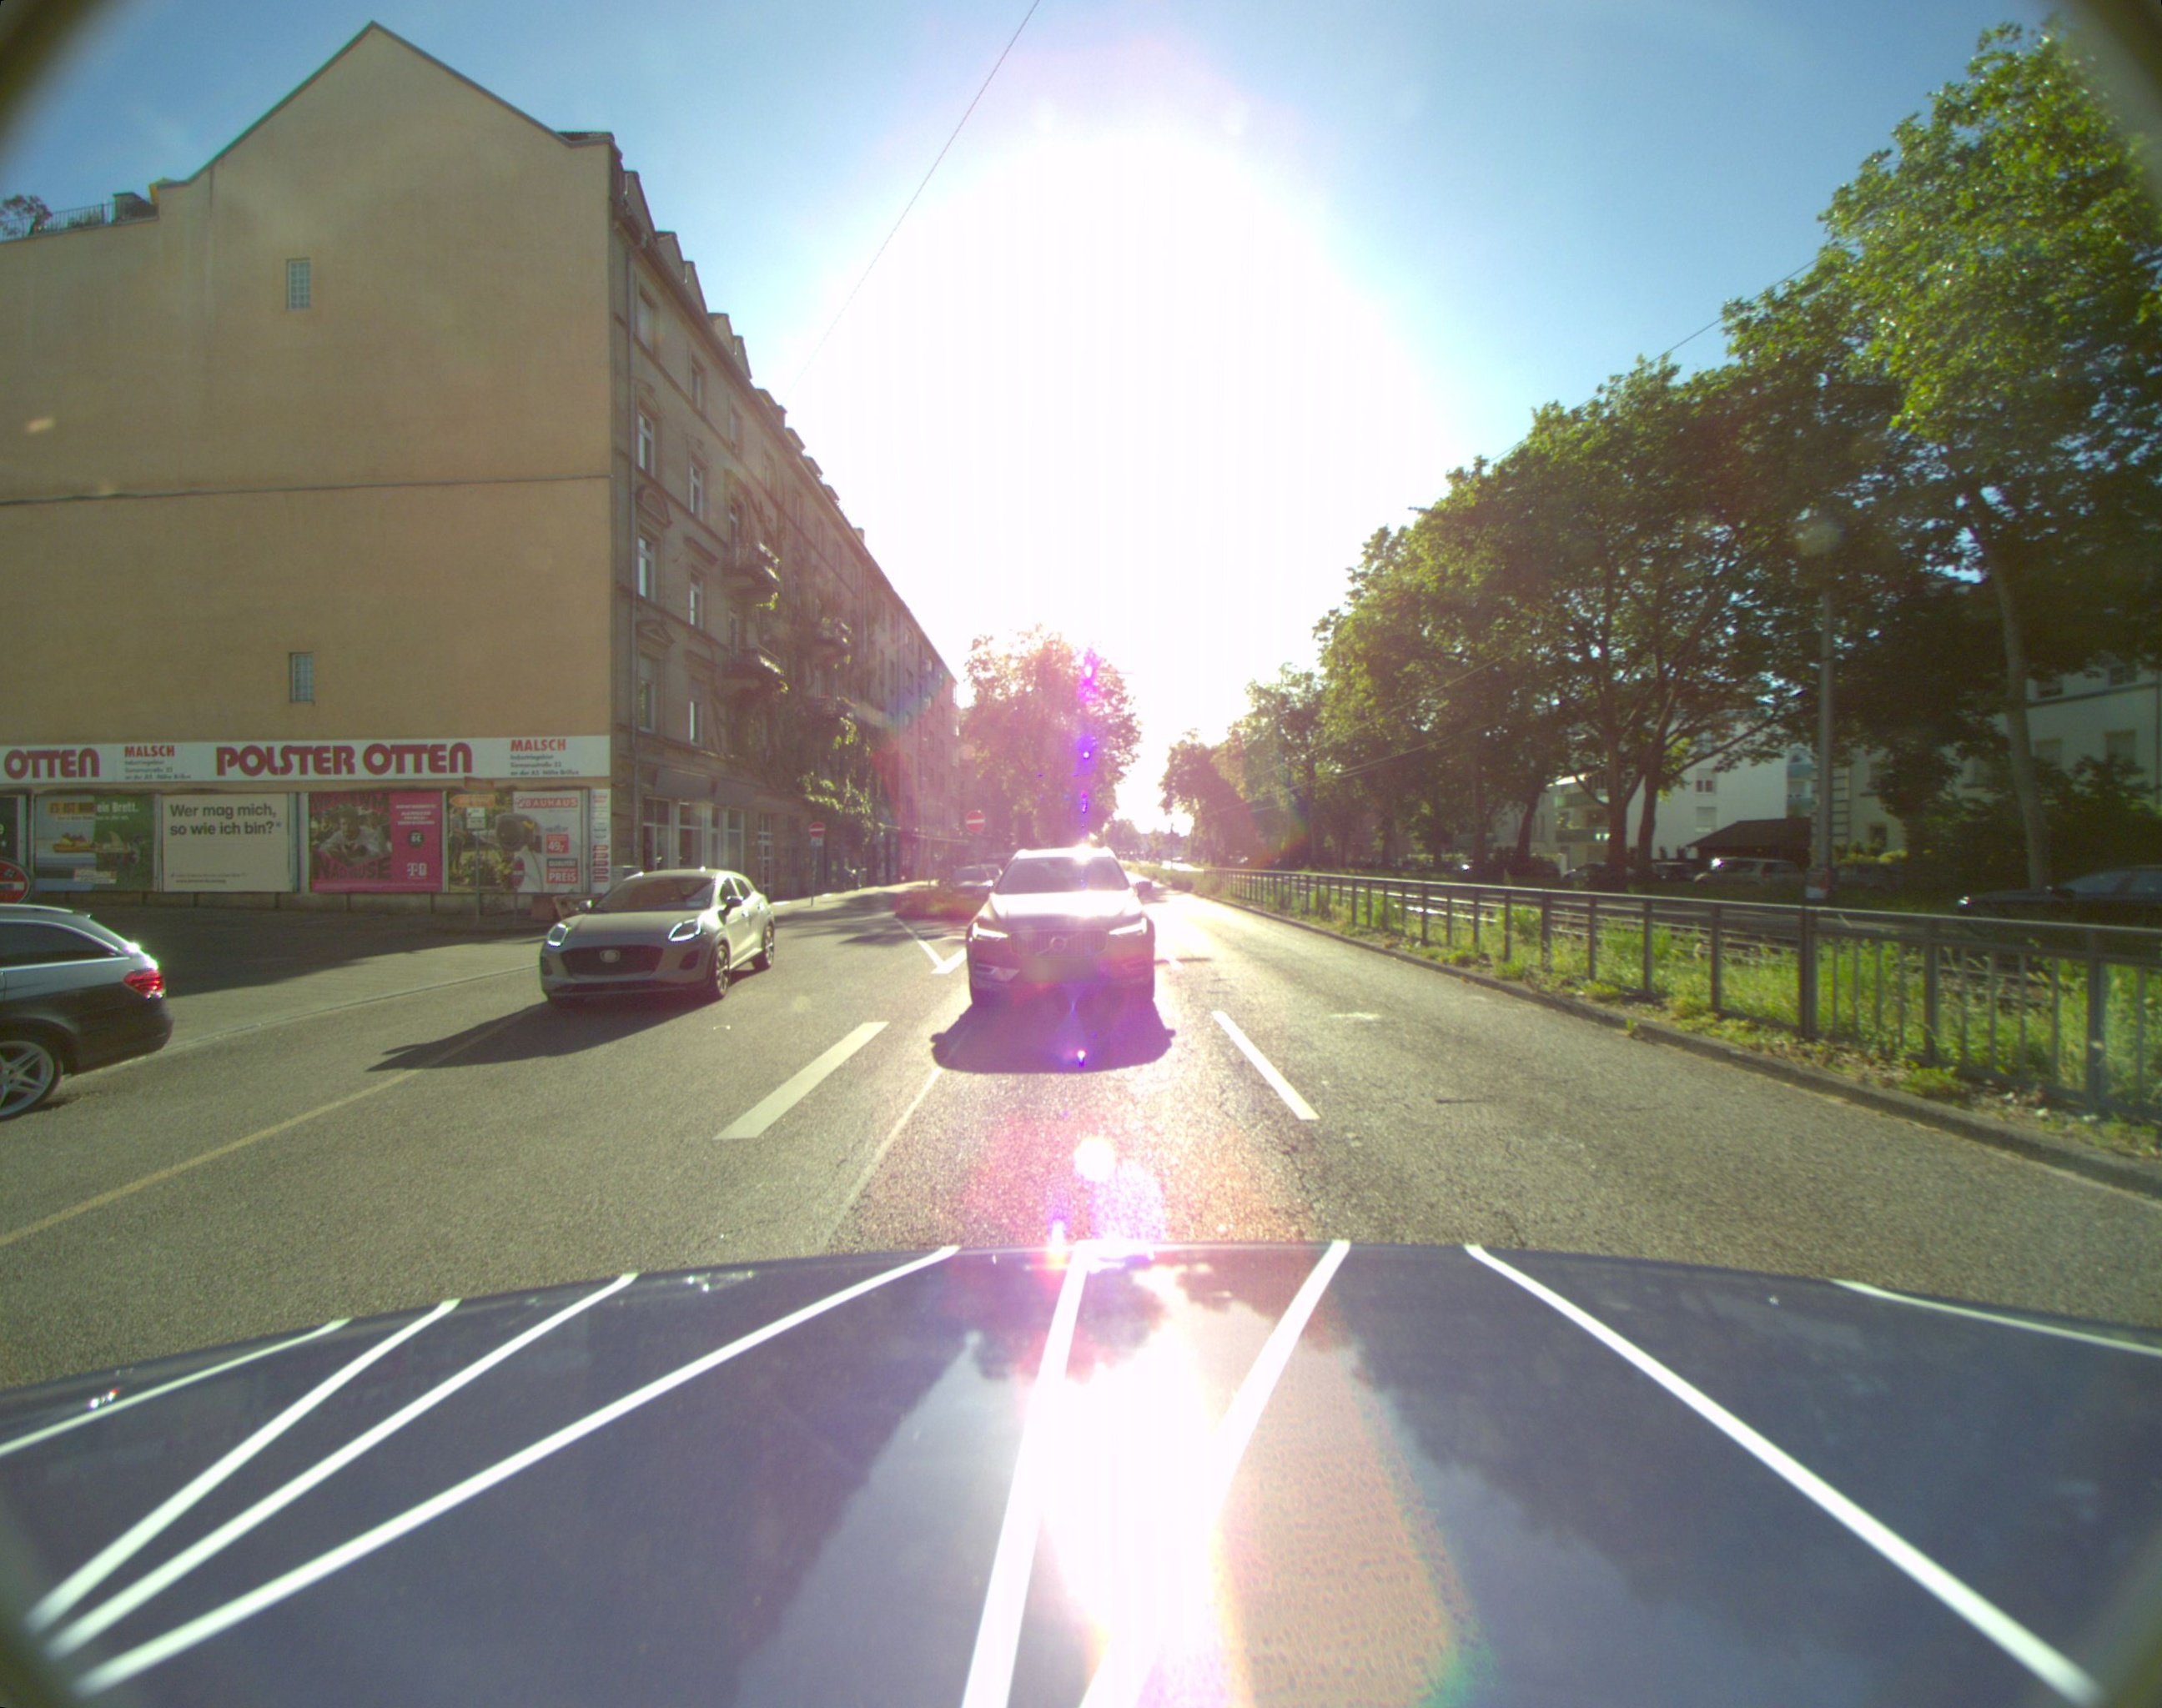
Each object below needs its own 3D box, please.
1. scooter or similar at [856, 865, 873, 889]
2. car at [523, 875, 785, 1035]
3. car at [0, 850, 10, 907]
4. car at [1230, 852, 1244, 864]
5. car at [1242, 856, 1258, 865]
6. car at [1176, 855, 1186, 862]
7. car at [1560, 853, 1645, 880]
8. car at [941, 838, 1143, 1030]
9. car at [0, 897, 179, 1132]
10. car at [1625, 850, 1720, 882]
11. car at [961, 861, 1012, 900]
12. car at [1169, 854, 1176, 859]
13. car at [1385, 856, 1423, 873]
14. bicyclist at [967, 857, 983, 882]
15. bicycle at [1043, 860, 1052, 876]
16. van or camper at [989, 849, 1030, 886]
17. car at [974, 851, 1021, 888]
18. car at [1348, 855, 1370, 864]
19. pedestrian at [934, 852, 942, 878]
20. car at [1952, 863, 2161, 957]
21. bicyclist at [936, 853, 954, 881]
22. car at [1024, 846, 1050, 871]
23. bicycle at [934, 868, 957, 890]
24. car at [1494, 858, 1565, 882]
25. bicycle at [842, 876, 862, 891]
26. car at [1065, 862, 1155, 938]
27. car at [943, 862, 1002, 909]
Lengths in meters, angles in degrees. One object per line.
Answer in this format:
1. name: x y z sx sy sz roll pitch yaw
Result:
1. scooter or similar: -10.921 1.142 38.299 0.638 1.167 1.731 0 0 -24
2. car: -5.354 1.121 10.236 1.703 1.519 4.376 -1 0 -10
3. car: -28.749 0.670 17.930 1.679 1.455 3.645 0 1 3
4. car: 27.985 0.684 136.225 1.998 2.002 4.002 -1 0 5
5. car: 27.997 1.030 125.898 1.771 1.477 3.688 0 0 1
6. car: 25.738 1.104 195.498 1.862 1.637 4.460 0 0 -1
7. car: 28.464 0.651 41.663 1.644 1.316 4.461 2 0 1
8. car: -0.307 0.751 9.396 1.876 1.788 4.633 0 0 1
9. car: -8.259 1.110 3.769 1.837 1.478 4.734 2 0 1
10. car: 28.532 0.567 36.793 1.779 1.456 3.697 0 0 1
11. car: -4.048 1.100 33.102 1.743 1.508 3.999 -3 0 -1
12. car: 28.383 0.731 235.531 1.998 1.697 4.001 0 0 3
13. car: 28.547 0.942 67.264 1.801 1.464 4.000 0 0 1
14. bicyclist: -6.193 0.894 44.369 0.678 1.437 1.182 3 0 1
15. bicycle: -2.550 1.061 58.237 0.466 1.207 1.751 0 0 4
16. van or camper: -4.037 0.713 43.854 1.889 2.002 5.094 0 0 0
17. car: -4.140 0.747 38.329 1.869 1.753 4.000 0 0 1
18. car: 28.310 0.588 77.371 1.109 0.871 3.060 0 0 1
19. pedestrian: -10.292 0.792 54.635 0.470 1.822 0.516 0 0 1
20. car: 18.259 0.919 12.985 1.688 1.490 4.342 -1 0 -2
21. bicyclist: -7.199 0.685 40.258 0.746 1.453 0.951 -1 1 2
22. car: -4.393 0.440 76.861 2.079 2.420 5.856 -1 0 1
23. bicycle: -7.180 1.297 40.302 0.758 1.095 1.954 0 0 2
24. car: 28.464 0.980 48.386 1.998 1.444 4.319 0 0 1
25. bicycle: -11.030 1.419 36.648 0.469 0.702 1.513 0 0 1
26. car: 0.538 0.931 16.848 1.608 1.445 3.780 0 0 -3
27. car: -4.025 1.122 28.651 1.645 1.508 3.999 -3 0 -1
